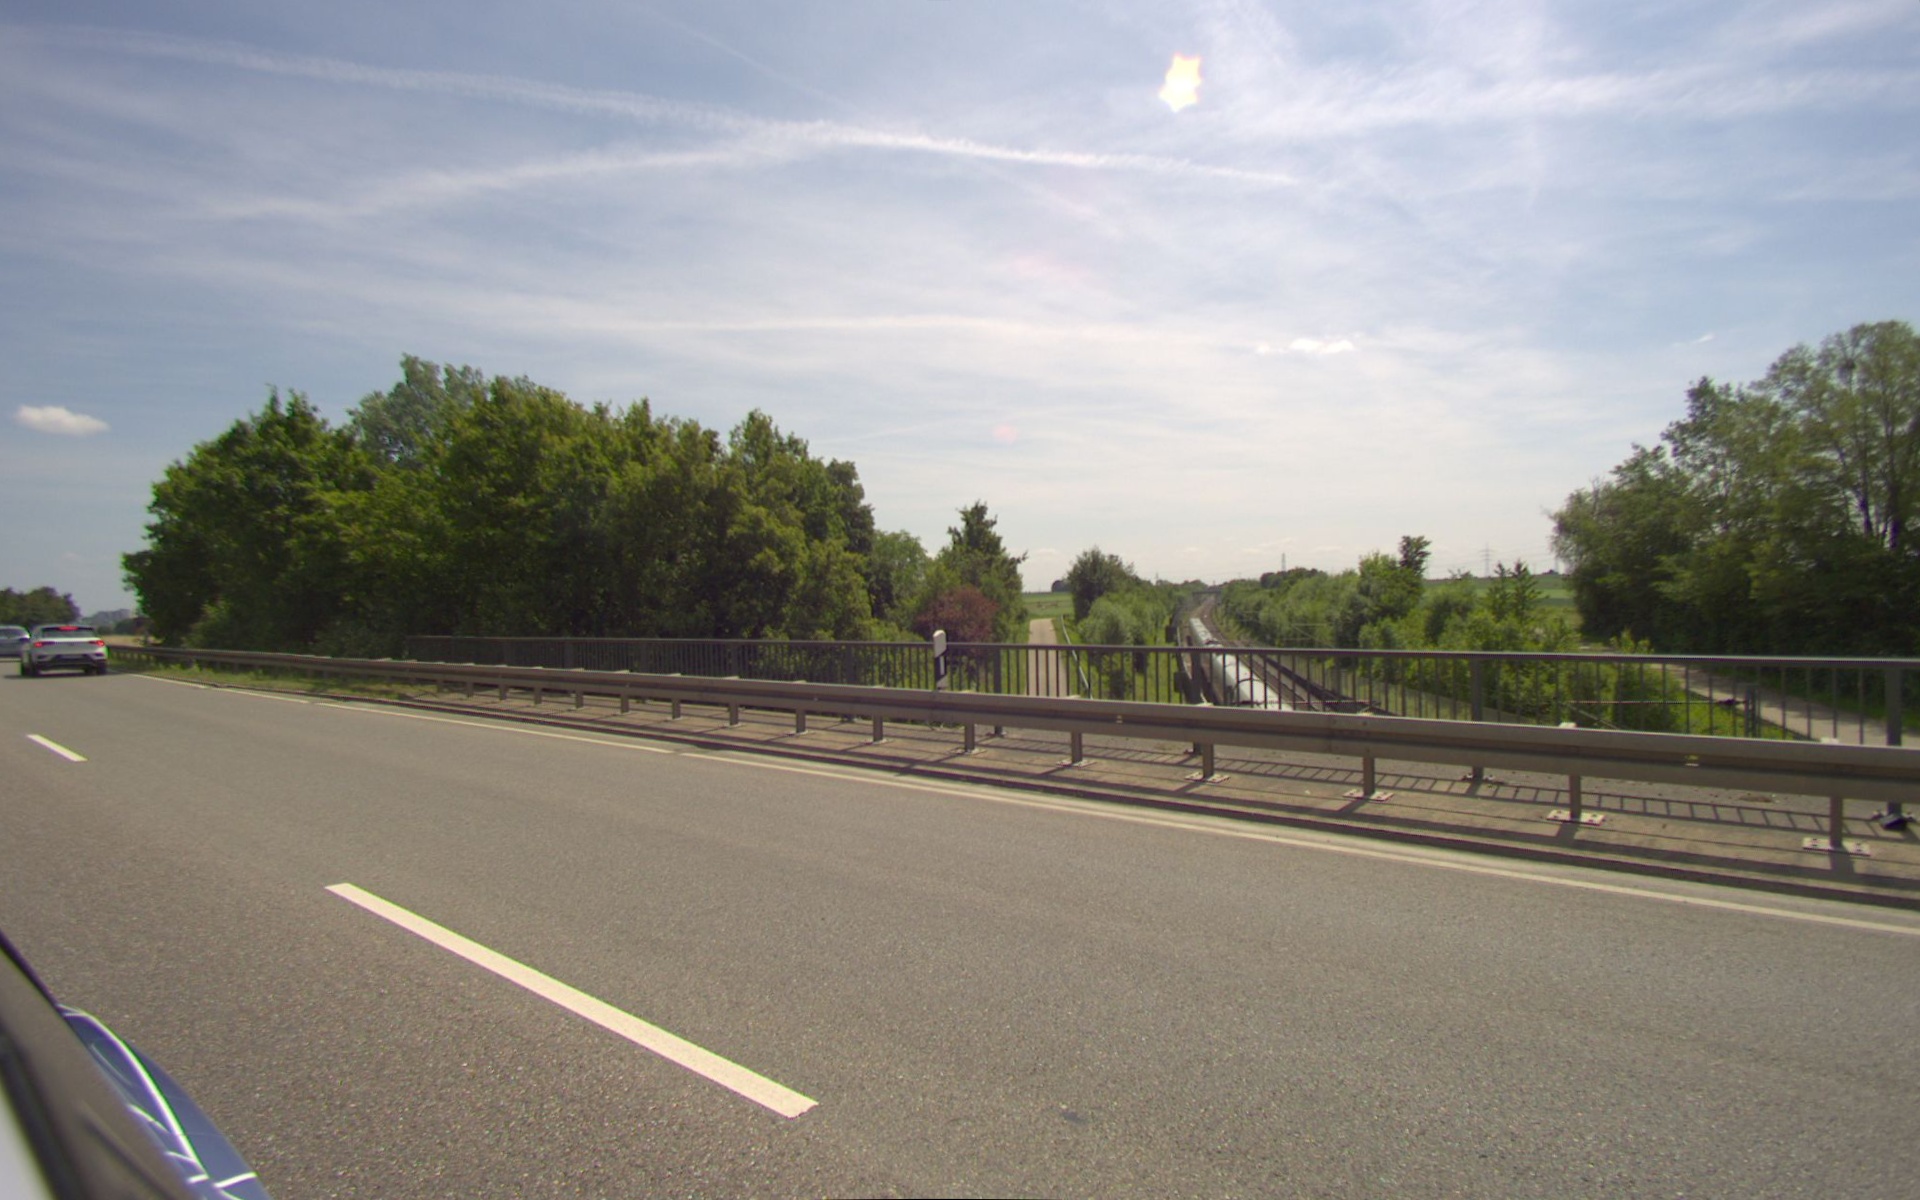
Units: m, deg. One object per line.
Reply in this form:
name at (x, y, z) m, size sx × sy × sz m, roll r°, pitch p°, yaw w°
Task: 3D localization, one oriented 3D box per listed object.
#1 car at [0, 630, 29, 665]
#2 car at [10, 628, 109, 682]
car at (-43.744, 2.154, 46.179) m, size 4.339 × 1.563 × 1.641 m, roll -2°, pitch -2°, yaw 45°
car at (-27.802, 1.637, 31.197) m, size 4.543 × 1.523 × 1.859 m, roll -2°, pitch -2°, yaw 43°
